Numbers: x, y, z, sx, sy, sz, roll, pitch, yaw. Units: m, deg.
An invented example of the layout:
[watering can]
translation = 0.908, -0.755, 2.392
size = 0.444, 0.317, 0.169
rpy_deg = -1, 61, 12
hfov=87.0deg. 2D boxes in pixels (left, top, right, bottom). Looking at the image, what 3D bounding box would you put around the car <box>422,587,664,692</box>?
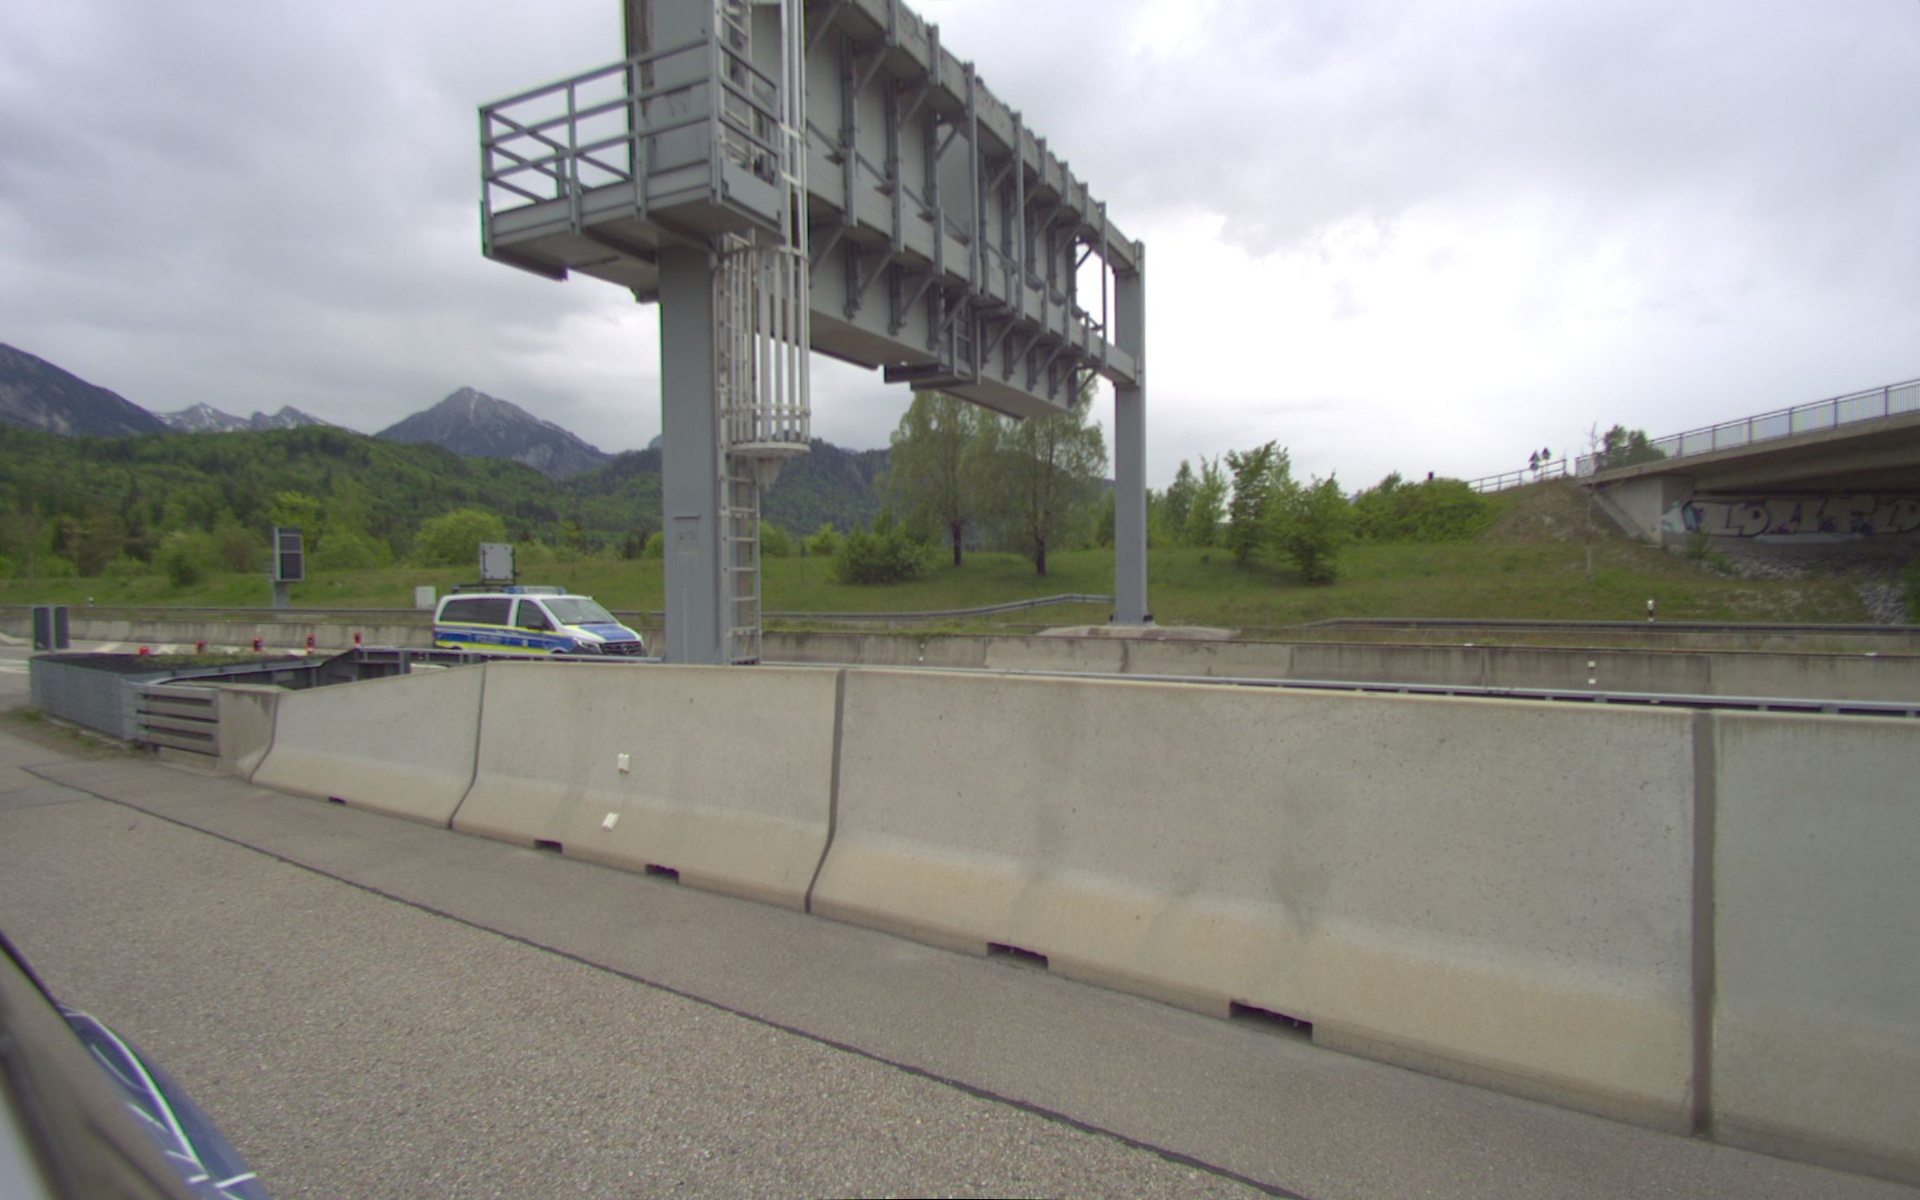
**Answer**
[car]
translation = -8.966, 0.784, 21.699
size = 5.028, 2.029, 2.085
rpy_deg = 0, -1, 28
